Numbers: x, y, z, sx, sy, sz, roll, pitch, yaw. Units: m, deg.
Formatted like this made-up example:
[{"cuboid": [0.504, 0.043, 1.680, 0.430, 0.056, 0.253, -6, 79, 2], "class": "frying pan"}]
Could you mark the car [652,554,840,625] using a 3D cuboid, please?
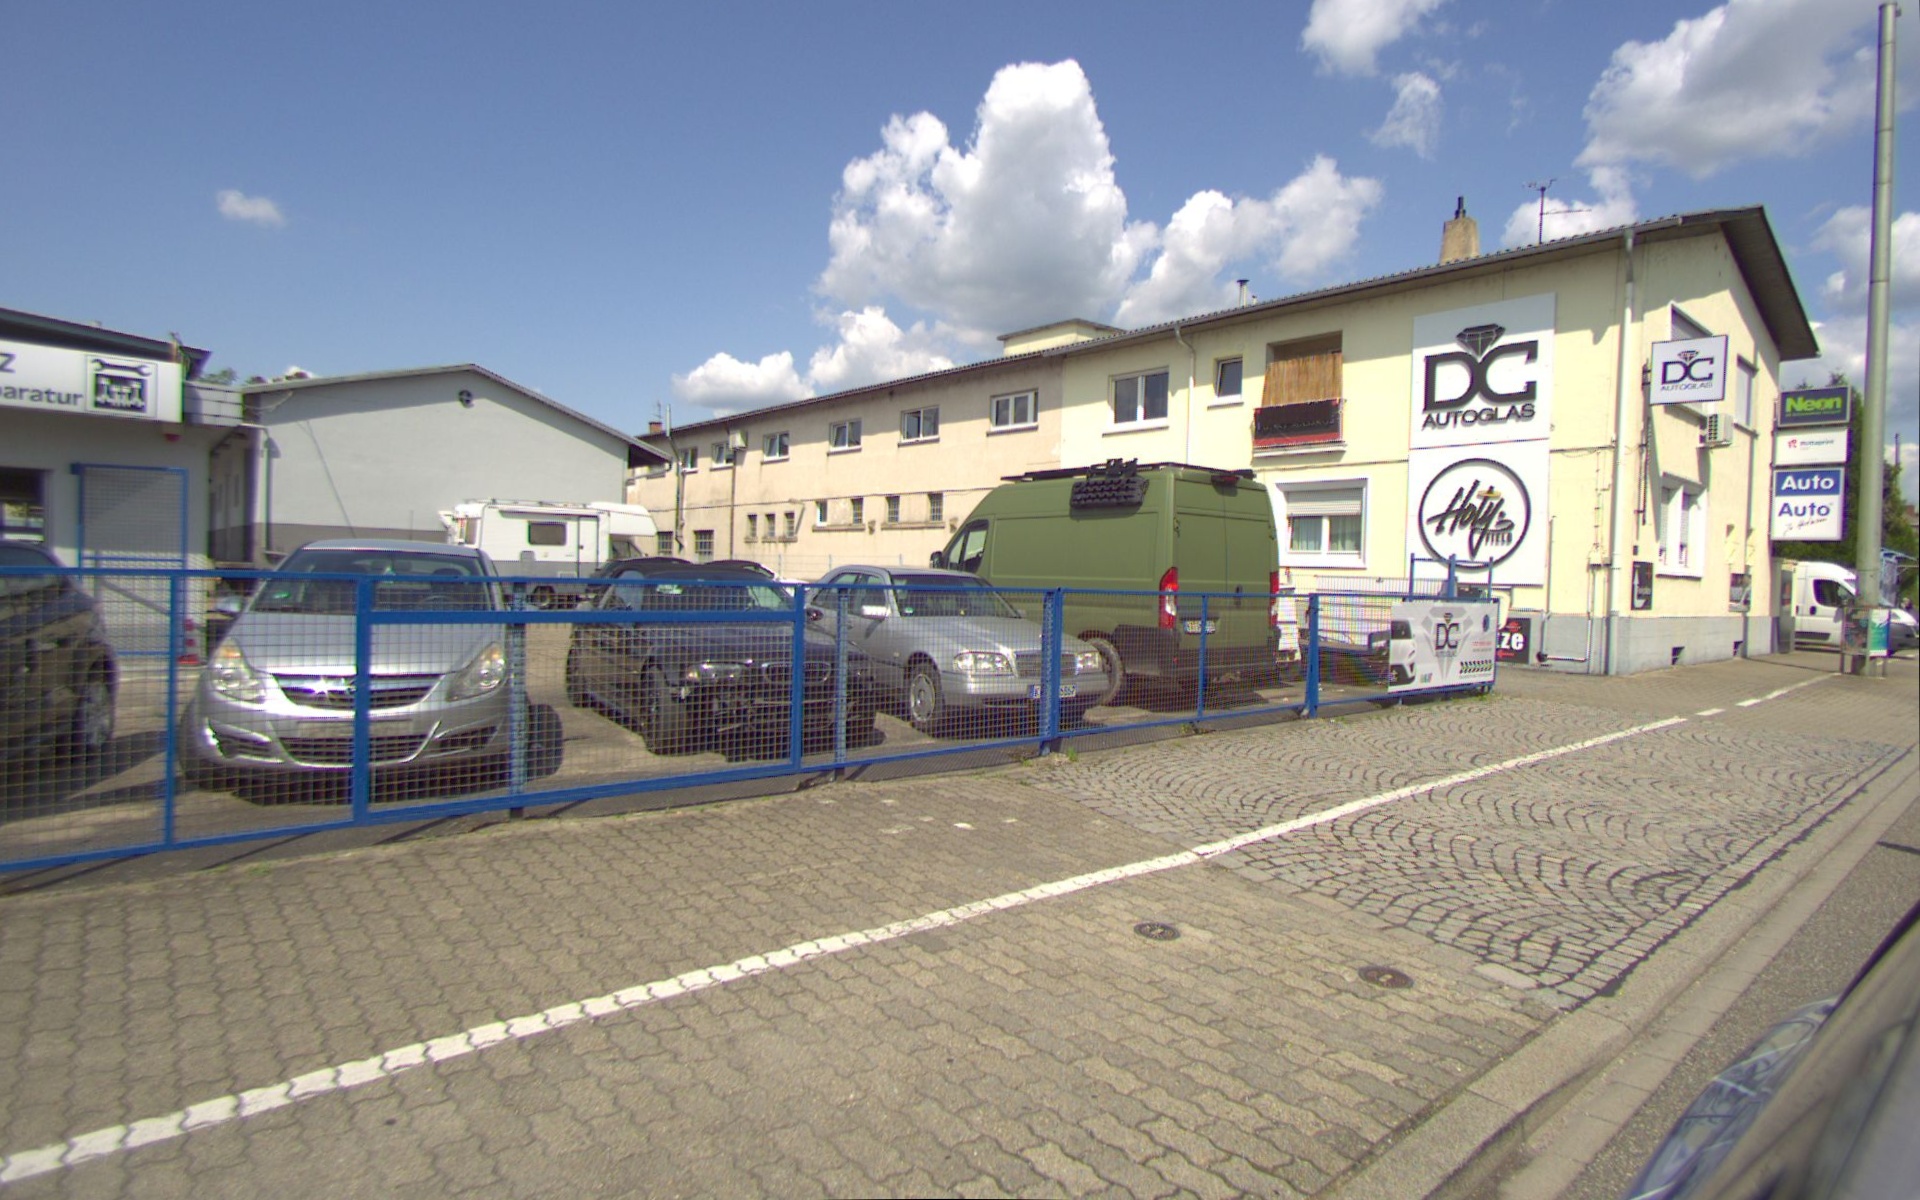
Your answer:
[{"cuboid": [-4.921, -0.245, 23.521, 3.939, 1.497, 1.719, 0, 2, -41], "class": "car"}]

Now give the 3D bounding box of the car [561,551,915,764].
[{"cuboid": [-2.120, 0.311, 8.748, 1.768, 1.403, 3.837, 1, 2, -32], "class": "car"}]

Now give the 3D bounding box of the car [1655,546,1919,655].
[{"cuboid": [22.720, -0.082, 27.410, 1.963, 2.404, 5.989, 1, 5, -38], "class": "car"}]

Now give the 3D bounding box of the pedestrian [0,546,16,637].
[{"cuboid": [-13.253, -0.127, 13.843, 0.479, 1.228, 0.501, 1, 1, -42], "class": "pedestrian"}]

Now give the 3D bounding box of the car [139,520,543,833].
[{"cuboid": [-3.946, 0.303, 7.104, 1.766, 1.497, 4.158, 1, 2, -24], "class": "car"}]

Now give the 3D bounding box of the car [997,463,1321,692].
[{"cuboid": [2.617, -0.344, 14.145, 1.771, 2.702, 4.208, 1, 2, -40], "class": "car"}]

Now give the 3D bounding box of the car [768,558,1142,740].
[{"cuboid": [-0.291, 0.321, 10.207, 1.768, 1.413, 4.216, 1, 2, -33], "class": "car"}]

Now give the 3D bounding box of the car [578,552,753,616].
[{"cuboid": [-7.474, -0.409, 25.892, 3.939, 1.497, 1.719, 0, 2, -41], "class": "car"}]

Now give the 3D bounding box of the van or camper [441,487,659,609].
[{"cuboid": [-11.002, -1.322, 27.370, 4.971, 2.999, 2.284, 0, 2, -42], "class": "van or camper"}]

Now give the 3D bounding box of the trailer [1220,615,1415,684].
[{"cuboid": [5.087, 0.671, 14.530, 1.245, 0.776, 2.330, 0, 2, -39], "class": "trailer"}]

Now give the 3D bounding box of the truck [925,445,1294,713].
[{"cuboid": [1.628, -0.283, 12.147, 2.033, 2.639, 3.996, 1, 2, -40], "class": "truck"}]

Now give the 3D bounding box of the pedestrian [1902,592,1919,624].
[{"cuboid": [48.605, 0.407, 51.492, 0.902, 1.606, 0.816, 1, 1, -41], "class": "pedestrian"}]

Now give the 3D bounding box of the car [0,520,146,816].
[{"cuboid": [-5.742, 0.325, 5.036, 1.685, 1.497, 4.012, 1, 2, -25], "class": "car"}]
